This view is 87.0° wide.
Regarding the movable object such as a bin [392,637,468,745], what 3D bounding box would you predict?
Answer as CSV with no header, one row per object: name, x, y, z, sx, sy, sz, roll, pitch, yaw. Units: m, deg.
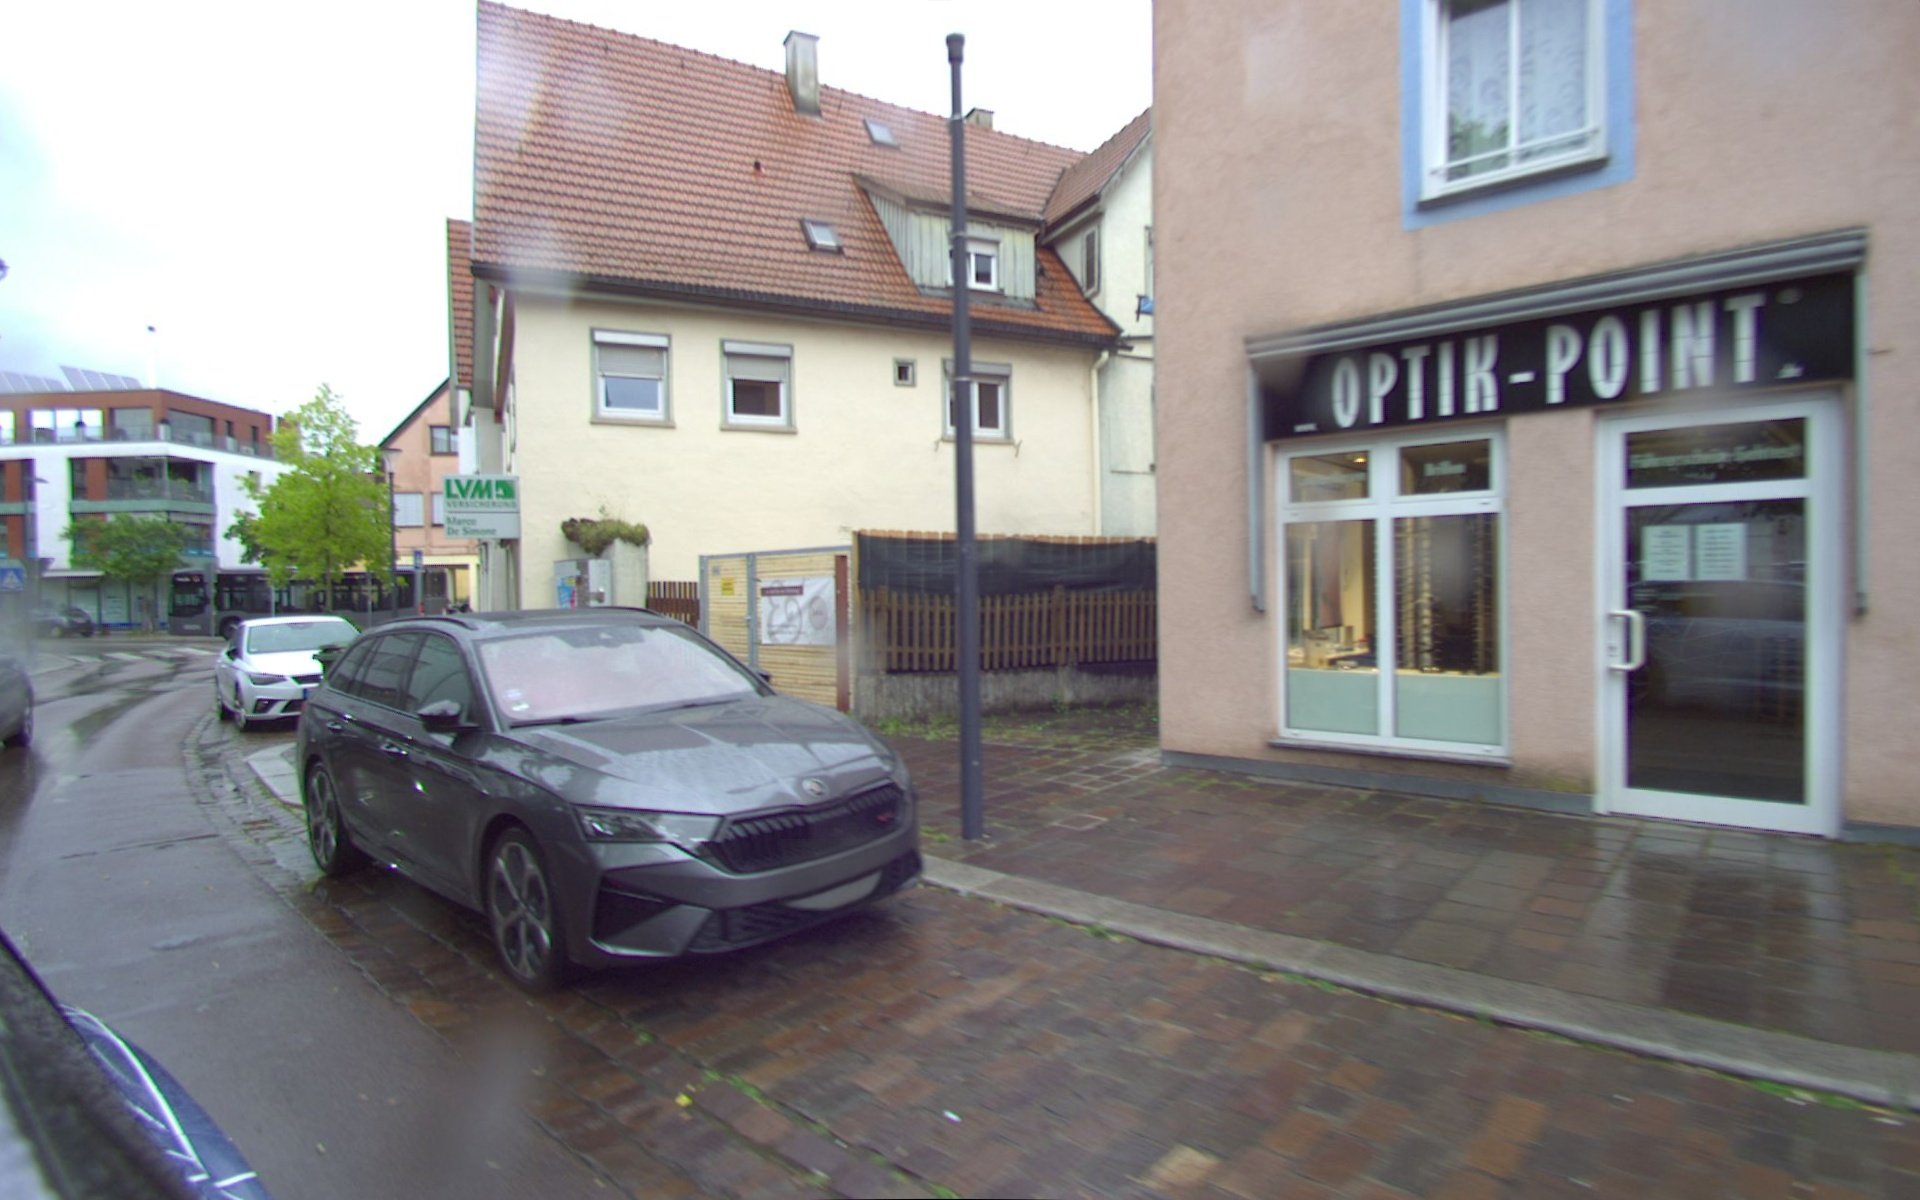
movable object such as a bin,-5.898,0.987,11.261,0.651,1.117,0.625,0,0,-38

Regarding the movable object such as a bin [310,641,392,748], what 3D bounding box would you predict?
movable object such as a bin,-6.839,1.036,11.363,0.683,1.095,0.548,-3,2,-38

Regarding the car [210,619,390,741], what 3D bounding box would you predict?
car,-9.309,1.006,14.151,1.669,1.433,3.823,0,-1,-40

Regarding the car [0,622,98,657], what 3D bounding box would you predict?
car,-44.045,1.880,48.519,3.941,1.586,1.720,0,0,-2

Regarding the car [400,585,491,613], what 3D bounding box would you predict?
car,-27.624,-0.056,54.458,3.935,1.497,2.004,0,0,-10

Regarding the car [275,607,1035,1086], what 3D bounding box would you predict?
car,-1.917,0.781,5.377,4.375,1.465,1.971,0,0,43

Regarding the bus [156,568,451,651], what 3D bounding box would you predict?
bus,-27.531,0.394,42.795,10.534,3.325,2.682,0,0,-3

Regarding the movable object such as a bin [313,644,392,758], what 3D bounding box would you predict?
movable object such as a bin,-6.454,1.051,10.752,0.651,1.117,0.625,0,0,-38

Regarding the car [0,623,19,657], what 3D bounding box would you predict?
car,-48.648,1.970,49.300,3.941,1.586,1.720,0,0,-2

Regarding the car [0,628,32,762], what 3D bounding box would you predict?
car,-10.666,1.009,9.711,1.967,1.417,4.905,-1,-1,-35
